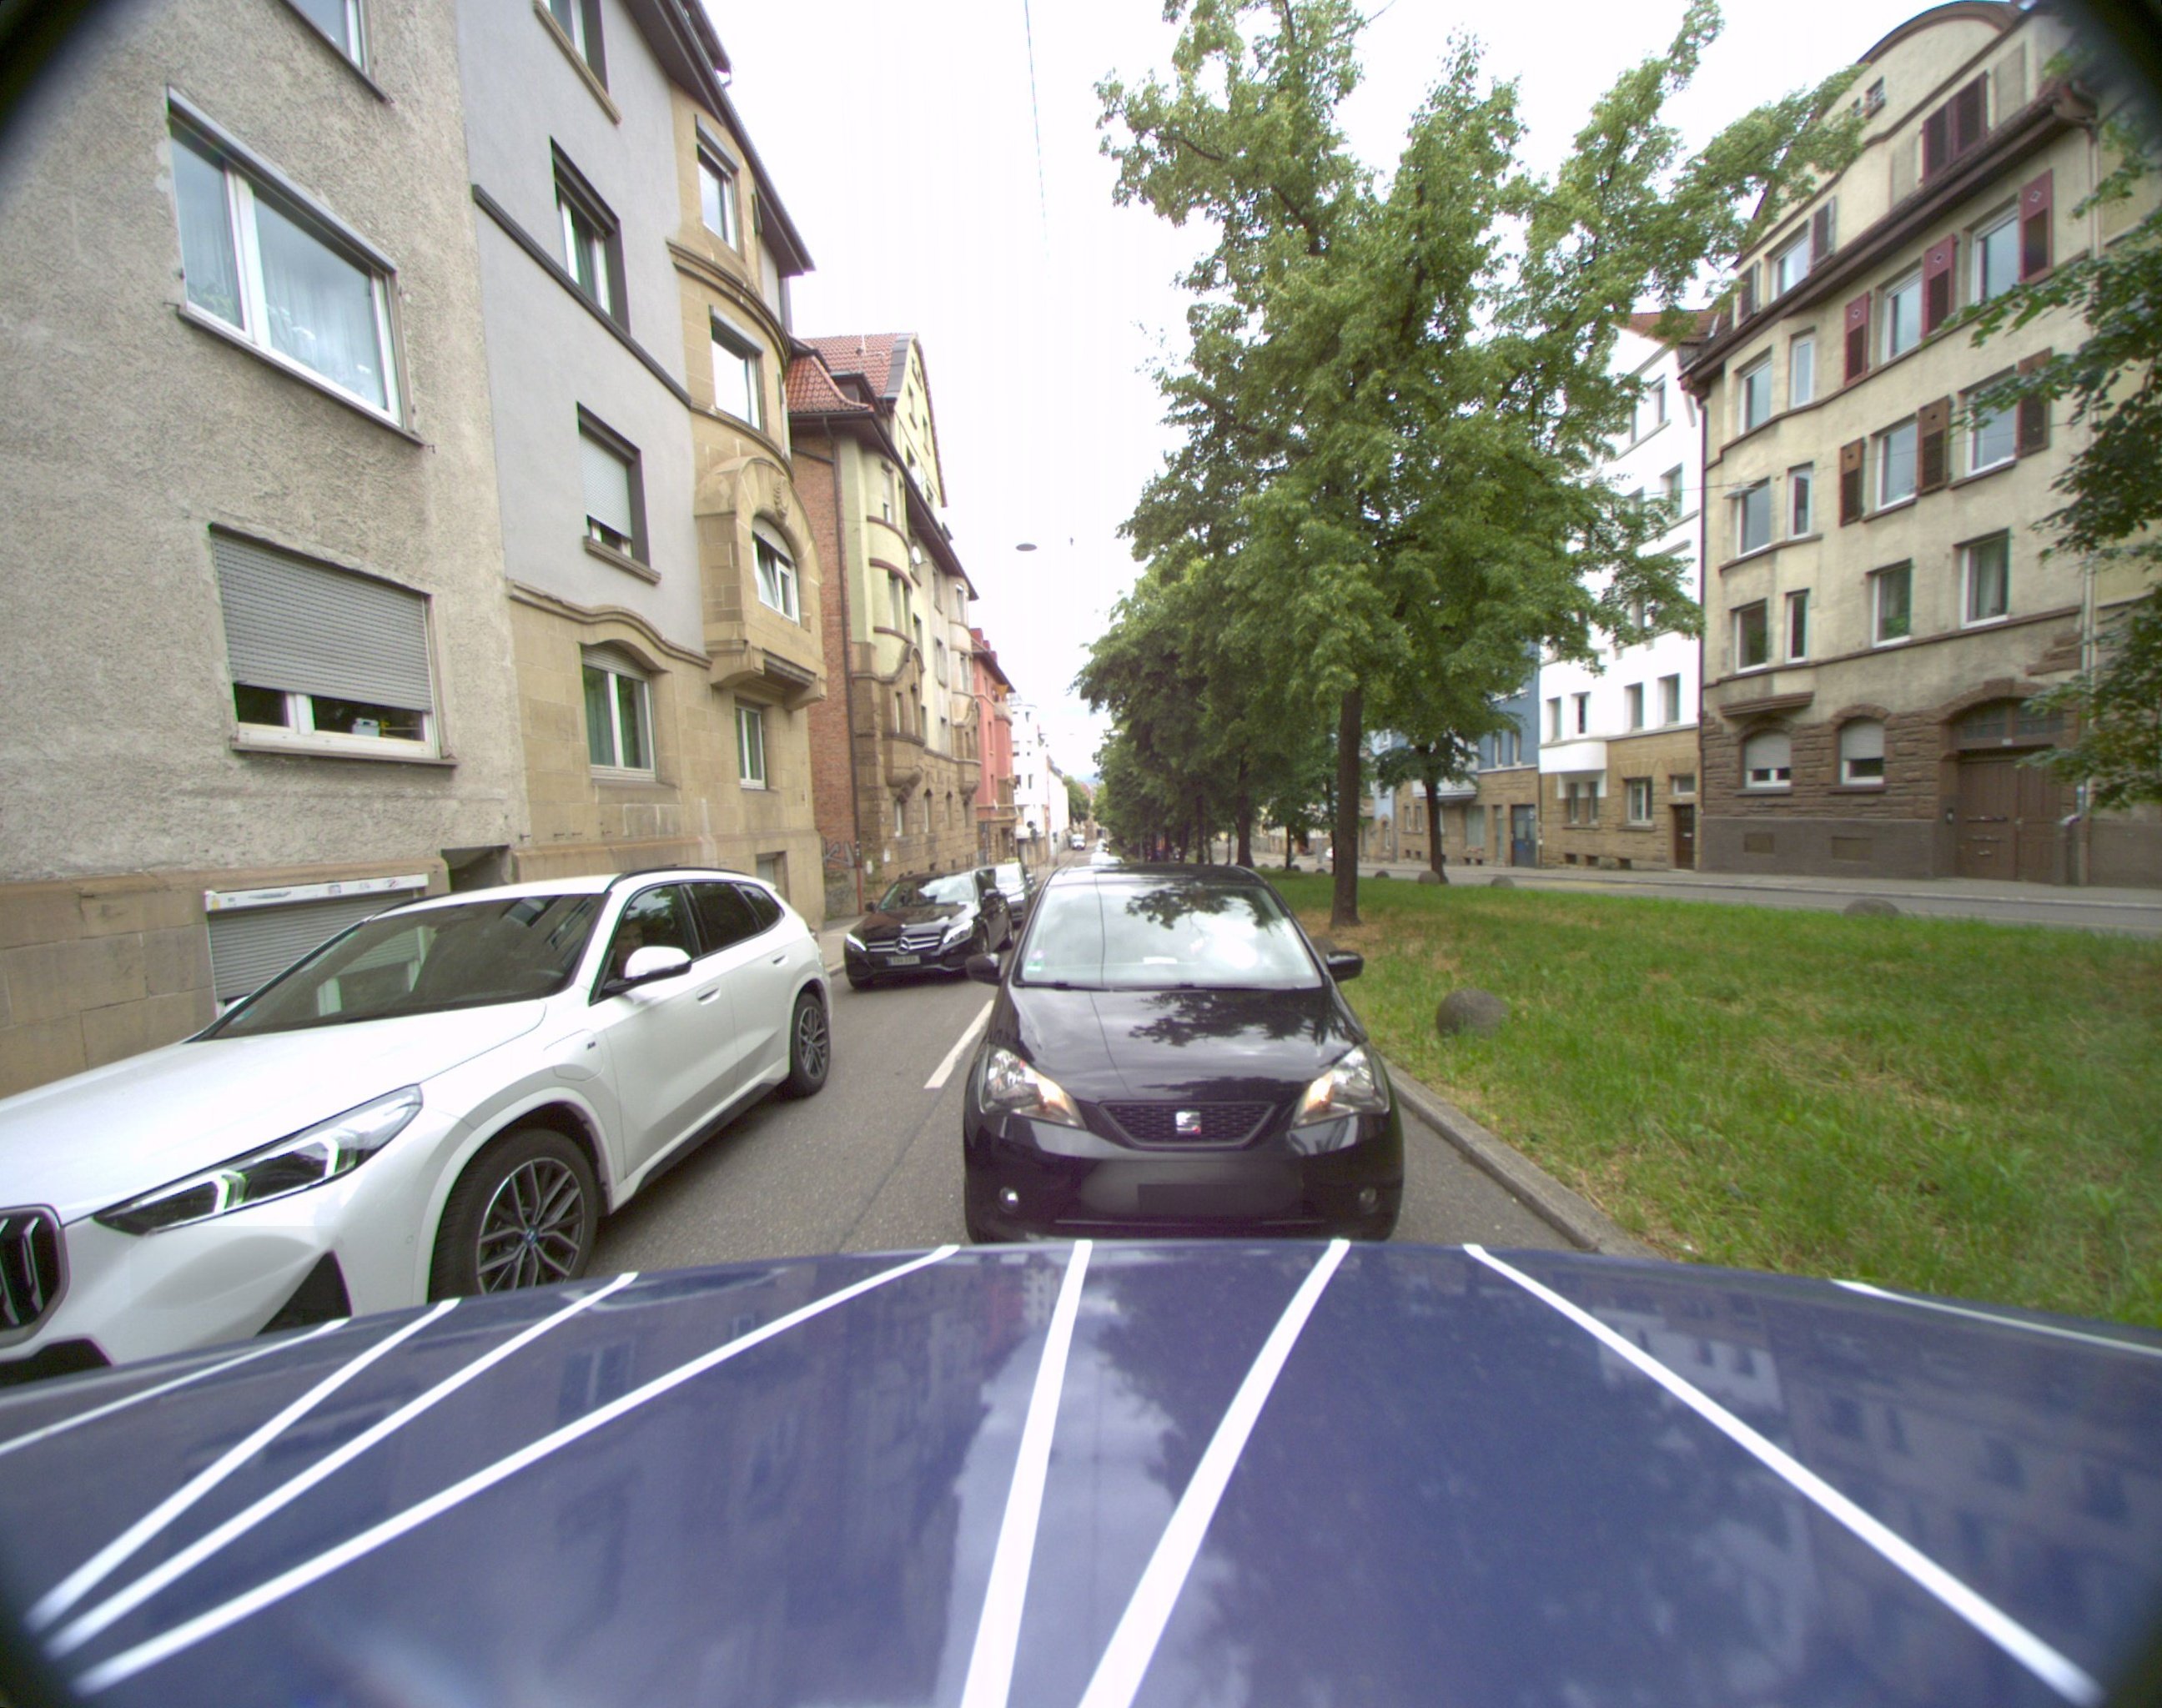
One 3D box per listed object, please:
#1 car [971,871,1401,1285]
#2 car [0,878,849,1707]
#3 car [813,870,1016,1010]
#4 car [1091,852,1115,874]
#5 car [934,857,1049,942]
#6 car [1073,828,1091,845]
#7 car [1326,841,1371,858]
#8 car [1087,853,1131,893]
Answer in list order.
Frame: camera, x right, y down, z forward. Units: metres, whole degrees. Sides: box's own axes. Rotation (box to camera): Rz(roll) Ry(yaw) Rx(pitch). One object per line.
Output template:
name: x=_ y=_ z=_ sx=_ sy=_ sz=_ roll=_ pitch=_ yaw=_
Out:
car: x=0.418 y=0.890 z=4.517 sx=1.611 sy=1.457 sz=3.296 roll=0 pitch=1 yaw=1
car: x=-2.819 y=1.081 z=3.705 sx=1.859 sy=1.547 sz=4.350 roll=-6 pitch=1 yaw=0
car: x=-2.184 y=1.086 z=11.235 sx=1.884 sy=1.369 sz=4.205 roll=-6 pitch=1 yaw=1
car: x=1.594 y=0.649 z=55.963 sx=1.607 sy=1.492 sz=3.737 roll=-2 pitch=1 yaw=1
car: x=-1.961 y=0.966 z=18.030 sx=1.936 sy=1.506 sz=4.303 roll=-6 pitch=1 yaw=2
car: x=0.193 y=-3.068 z=137.598 sx=2.717 sy=2.879 sz=6.450 roll=-2 pitch=1 yaw=-4
car: x=22.192 y=-0.392 z=63.117 sx=3.291 sy=1.323 sz=1.672 roll=-2 pitch=1 yaw=10
car: x=1.110 y=0.738 z=31.425 sx=1.664 sy=1.456 sz=3.580 roll=-2 pitch=1 yaw=1
